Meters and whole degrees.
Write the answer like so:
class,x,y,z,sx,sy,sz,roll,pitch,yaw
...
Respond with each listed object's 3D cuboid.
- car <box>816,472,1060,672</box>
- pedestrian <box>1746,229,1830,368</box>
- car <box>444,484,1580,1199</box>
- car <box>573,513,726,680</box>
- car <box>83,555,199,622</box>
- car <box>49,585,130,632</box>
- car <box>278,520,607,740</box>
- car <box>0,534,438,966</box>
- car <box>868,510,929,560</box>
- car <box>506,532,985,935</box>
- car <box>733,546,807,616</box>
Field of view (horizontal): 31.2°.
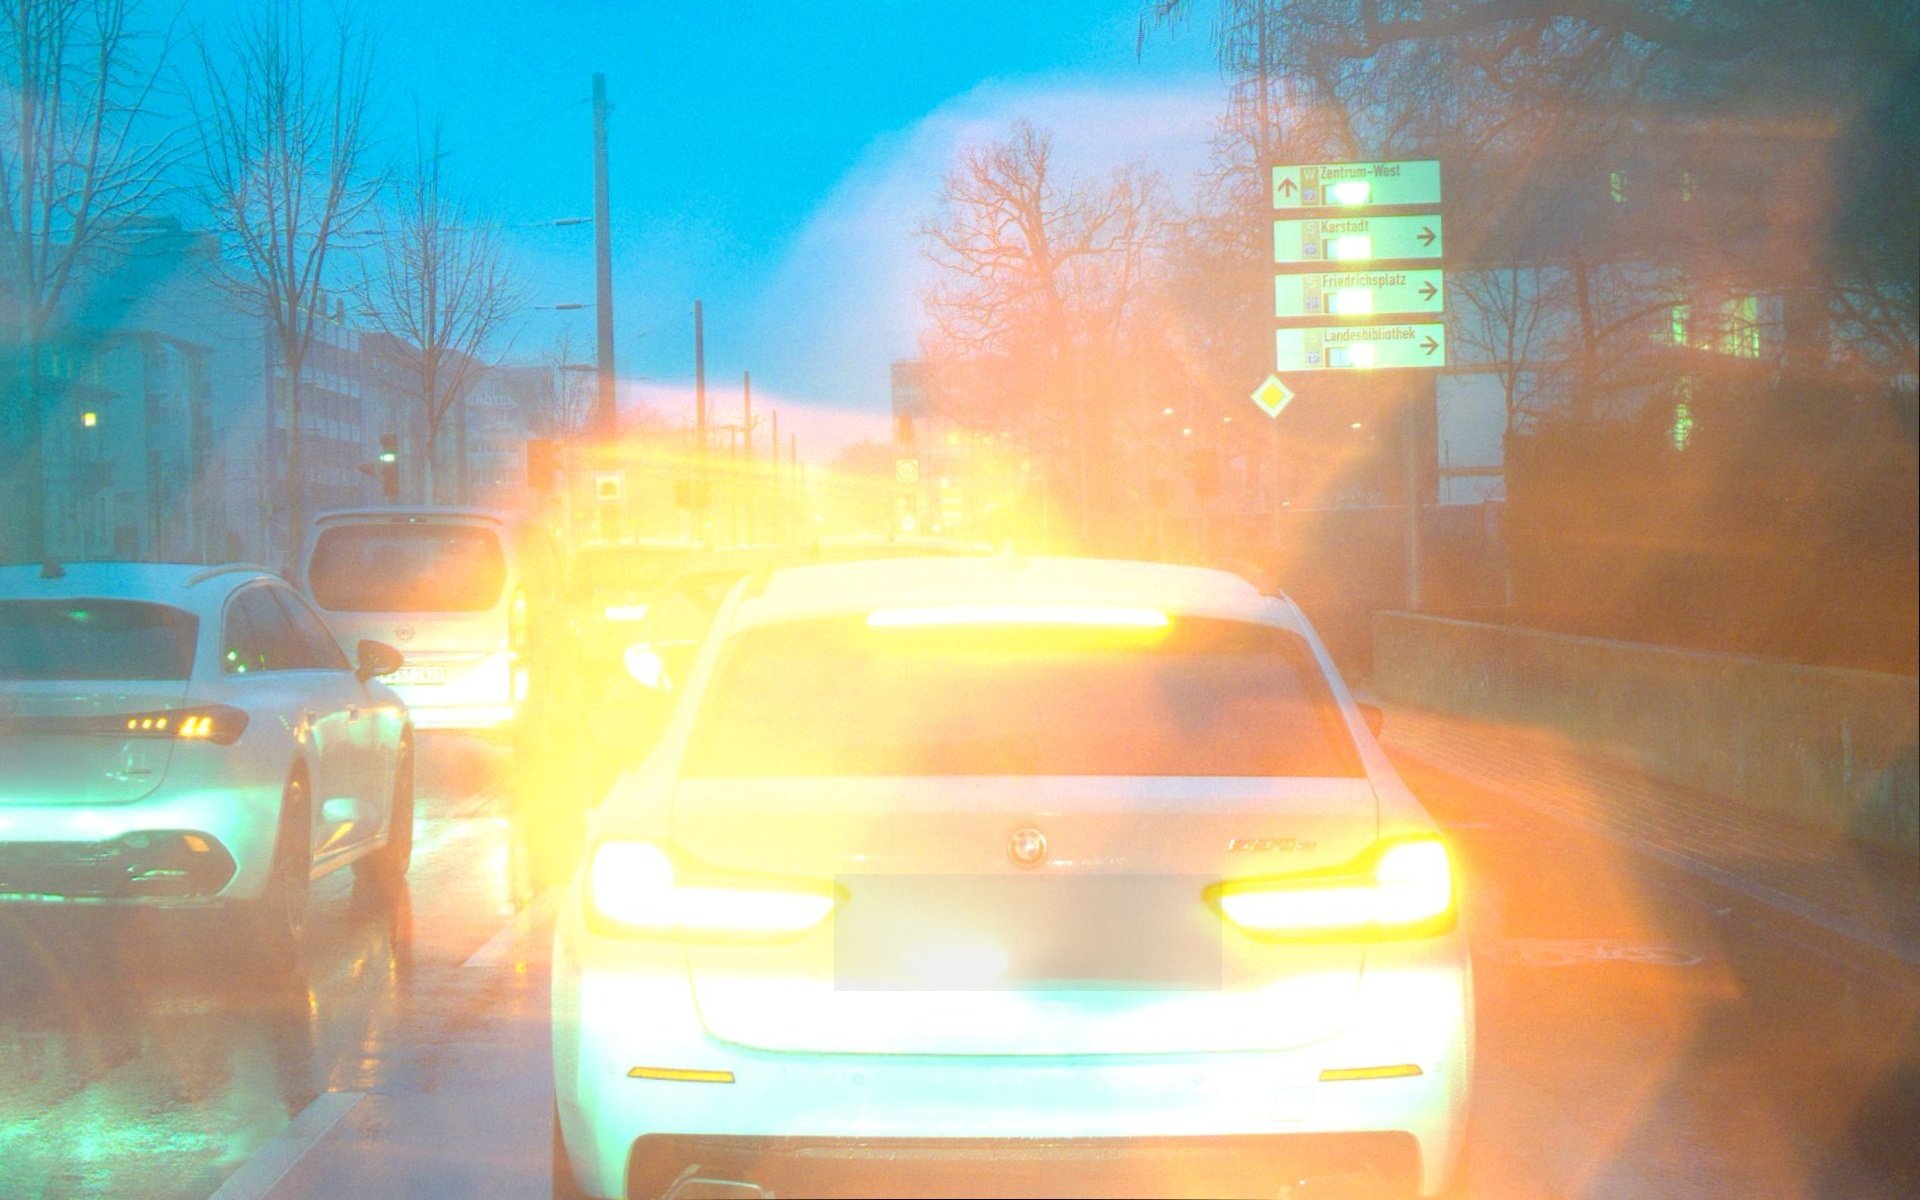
class,x,y,z,sx,sy,sz,roll,pitch,yaw
car,-0.179,-0.242,26.820,1.737,1.415,3.703,-1,1,-1
pedestrian,12.441,-4.521,51.669,0.959,2.007,1.008,-1,1,-1
car,0.065,0.555,8.185,1.862,1.550,4.938,-1,1,-1
car,-3.190,-0.052,35.691,1.505,1.647,2.845,1,1,-4
car,-20.111,-0.301,84.578,1.993,1.597,4.000,1,1,-2
car,-24.963,0.230,98.686,1.690,1.273,4.149,-1,1,-7
car,-3.645,0.156,24.931,1.737,1.415,4.394,-1,1,-1
car,-3.375,0.480,14.054,1.799,1.461,4.586,-1,1,-1
car,-1.795,-1.923,101.810,1.737,1.415,4.146,-1,1,-1
car,-0.839,0.483,15.045,1.800,1.505,3.895,-1,1,-1
car,-3.664,-0.376,66.283,1.362,1.312,2.716,1,1,-3
